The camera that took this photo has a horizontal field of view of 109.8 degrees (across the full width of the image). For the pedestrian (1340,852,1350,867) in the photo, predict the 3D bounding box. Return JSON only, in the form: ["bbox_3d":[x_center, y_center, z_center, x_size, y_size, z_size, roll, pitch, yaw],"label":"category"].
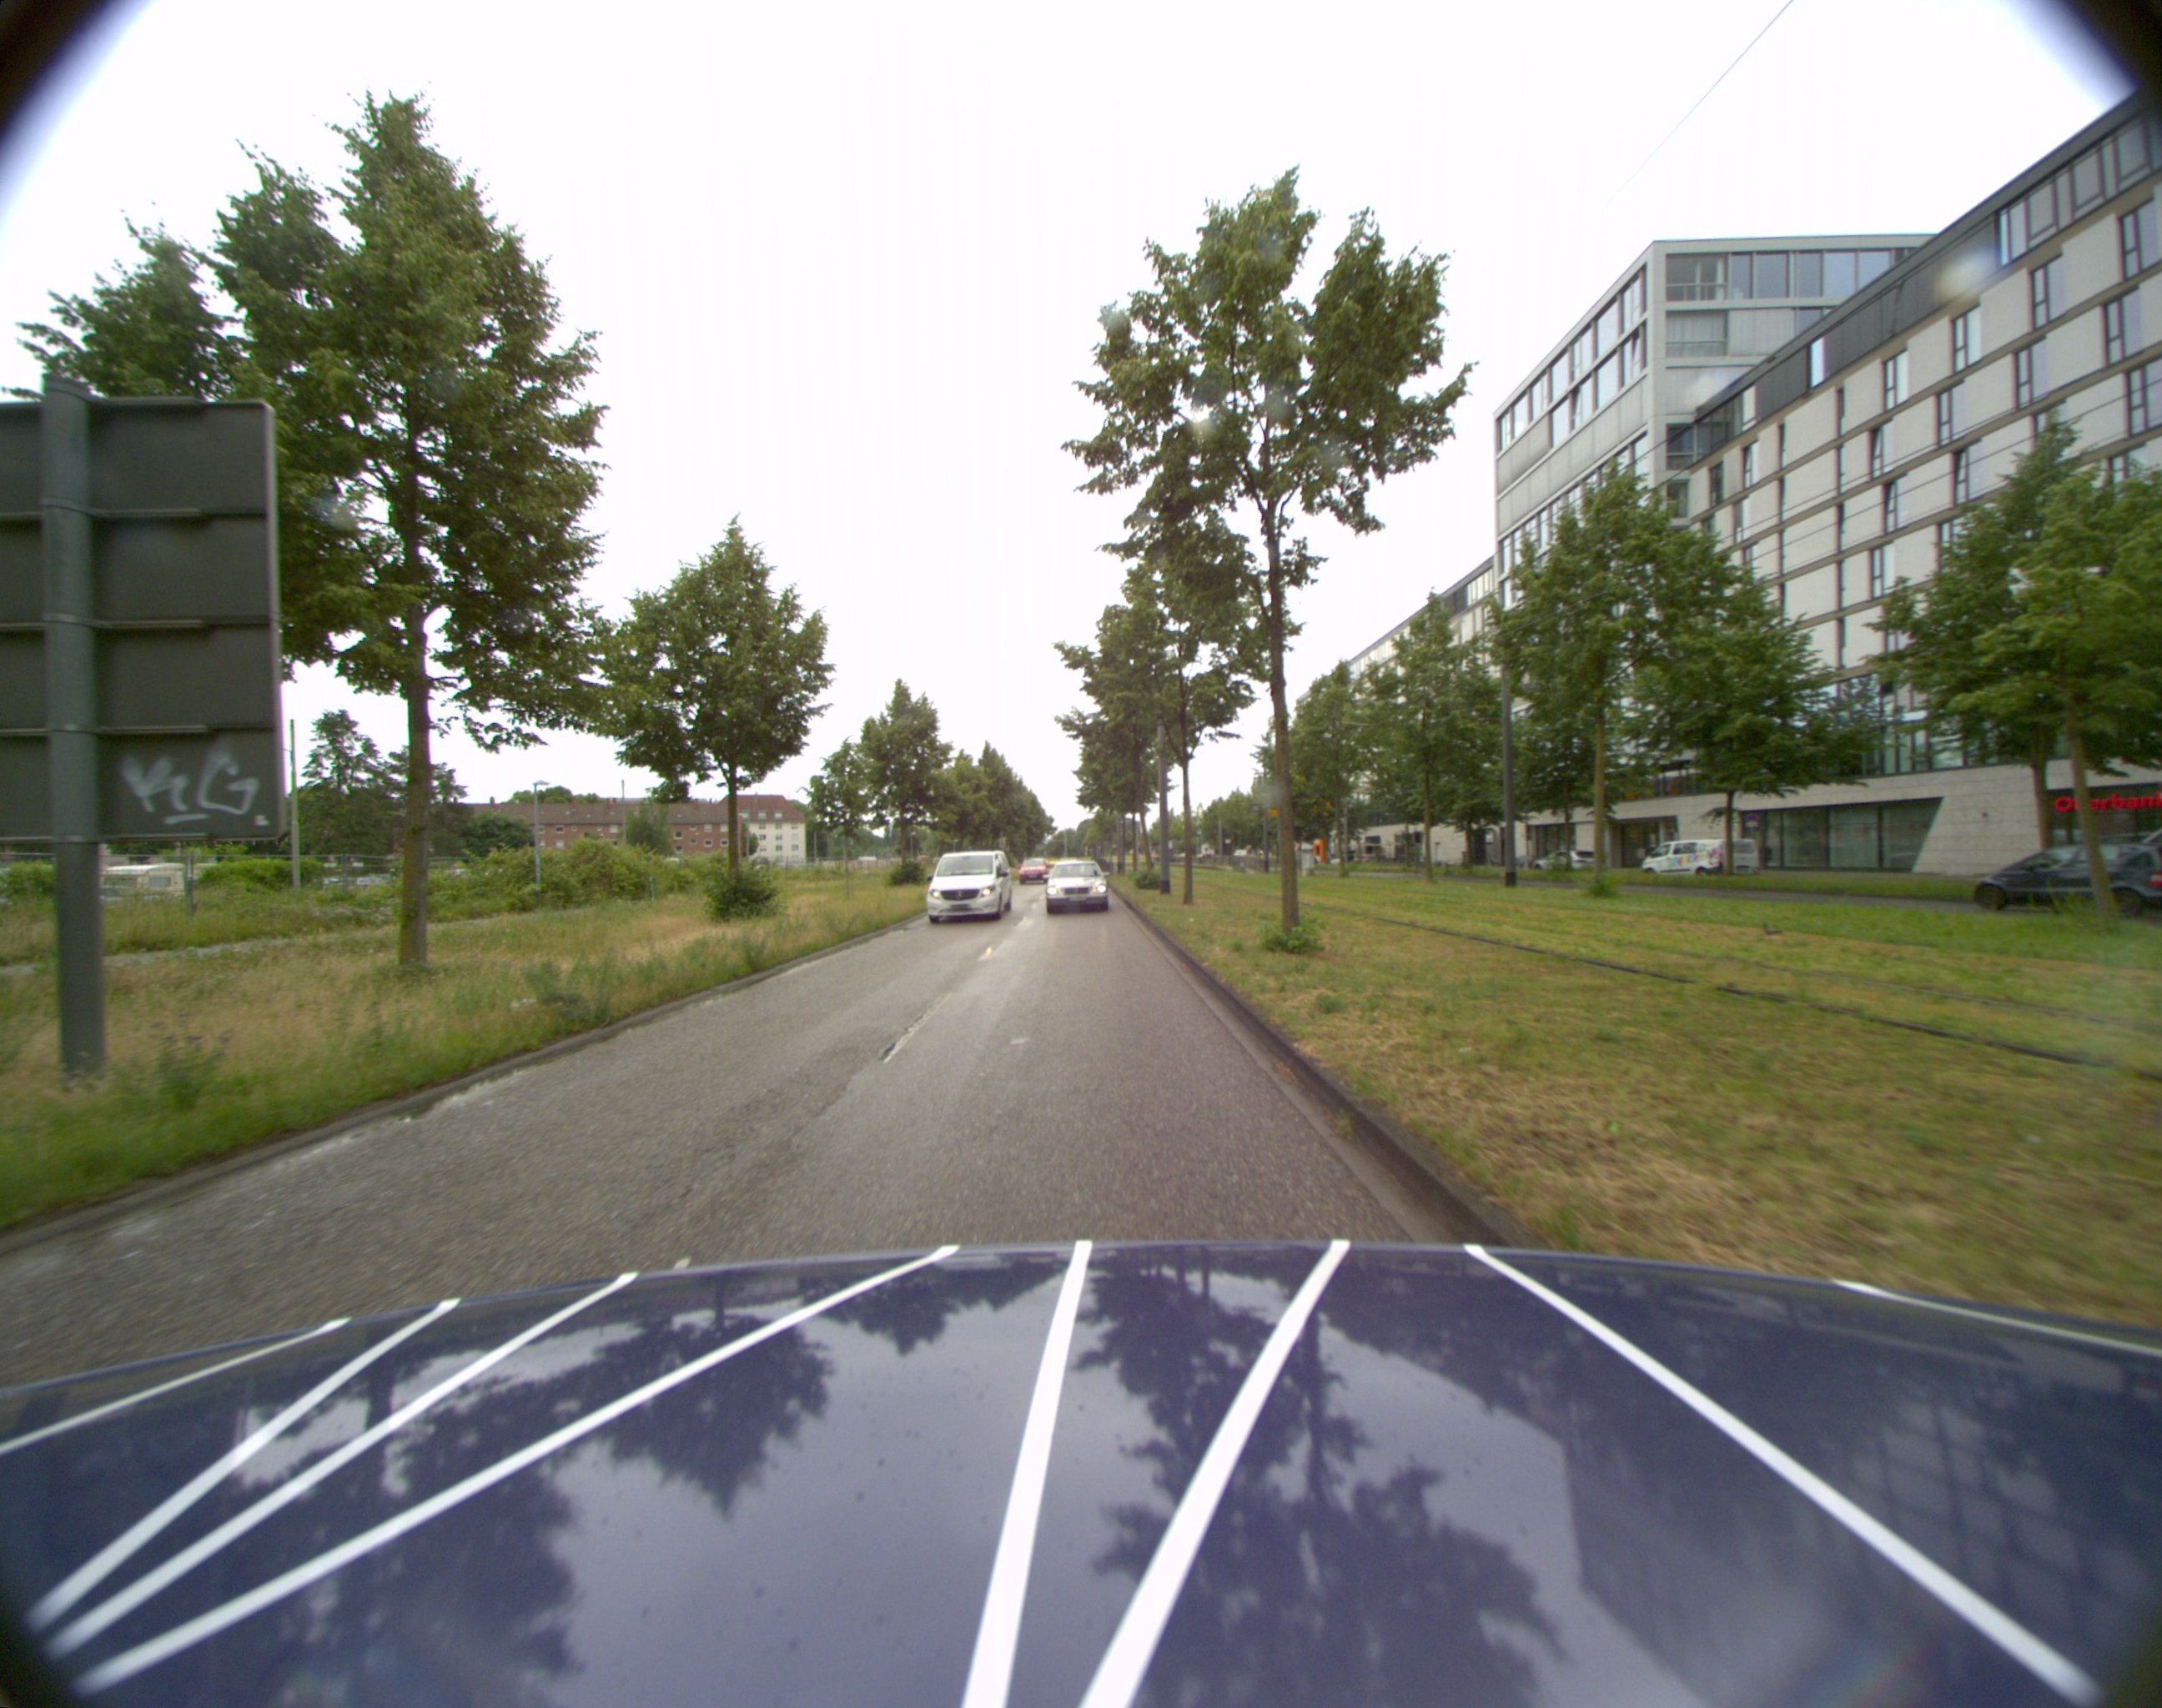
[{"bbox_3d":[28.387,0.595,81.749,0.712,1.681,0.793,-2,0,3],"label":"pedestrian"}]

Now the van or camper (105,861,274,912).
[{"bbox_3d":[-51.426,1.780,44.138,2.314,2.673,6.395,-1,0,-2],"label":"van or camper"}]

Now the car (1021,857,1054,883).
[{"bbox_3d":[-2.777,1.006,49.469,1.799,1.603,4.245,-2,0,1],"label":"car"}]

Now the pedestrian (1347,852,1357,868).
[{"bbox_3d":[29.161,0.612,81.714,0.712,1.681,0.793,-2,0,3],"label":"pedestrian"}]

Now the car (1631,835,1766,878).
[{"bbox_3d":[28.486,0.107,35.336,1.999,1.841,5.164,-1,0,-1],"label":"car"}]

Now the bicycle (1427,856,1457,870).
[{"bbox_3d":[28.187,0.691,59.284,1.983,1.028,0.696,-2,0,1],"label":"bicycle"}]

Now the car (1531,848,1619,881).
[{"bbox_3d":[28.374,0.580,43.833,2.150,1.702,4.463,-2,0,0],"label":"car"}]

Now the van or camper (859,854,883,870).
[{"bbox_3d":[-42.922,1.641,155.442,2.343,3.017,5.514,-3,0,11],"label":"van or camper"}]

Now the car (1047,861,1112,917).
[{"bbox_3d":[-0.070,0.983,23.176,1.739,1.451,4.607,-2,0,-1],"label":"car"}]

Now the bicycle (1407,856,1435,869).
[{"bbox_3d":[28.619,0.726,63.925,1.983,1.028,0.696,-2,0,1],"label":"bicycle"}]

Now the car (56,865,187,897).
[{"bbox_3d":[-62.840,1.736,49.934,2.168,1.883,5.204,-1,0,-4],"label":"car"}]

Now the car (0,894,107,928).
[{"bbox_3d":[-49.128,2.658,35.628,1.700,1.344,4.032,-1,0,1],"label":"car"}]

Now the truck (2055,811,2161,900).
[{"bbox_3d":[29.029,0.004,18.537,2.432,2.278,6.308,-2,0,0],"label":"truck"}]

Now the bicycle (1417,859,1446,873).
[{"bbox_3d":[28.195,0.967,61.209,1.983,1.028,0.696,-2,0,1],"label":"bicycle"}]

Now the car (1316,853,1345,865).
[{"bbox_3d":[27.743,0.519,84.563,1.998,1.281,4.070,-1,0,2],"label":"car"}]

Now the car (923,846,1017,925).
[{"bbox_3d":[-3.039,0.790,21.944,1.972,1.968,5.090,-1,0,-1],"label":"car"}]

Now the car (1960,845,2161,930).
[{"bbox_3d":[22.363,0.649,16.690,1.998,1.647,3.701,-1,0,6],"label":"car"}]

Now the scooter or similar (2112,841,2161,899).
[{"bbox_3d":[35.553,0.506,25.007,2.130,1.814,0.885,-2,0,-4],"label":"scooter or similar"}]

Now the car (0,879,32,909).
[{"bbox_3d":[-52.697,1.954,35.521,1.700,1.423,4.032,-1,0,1],"label":"car"}]
